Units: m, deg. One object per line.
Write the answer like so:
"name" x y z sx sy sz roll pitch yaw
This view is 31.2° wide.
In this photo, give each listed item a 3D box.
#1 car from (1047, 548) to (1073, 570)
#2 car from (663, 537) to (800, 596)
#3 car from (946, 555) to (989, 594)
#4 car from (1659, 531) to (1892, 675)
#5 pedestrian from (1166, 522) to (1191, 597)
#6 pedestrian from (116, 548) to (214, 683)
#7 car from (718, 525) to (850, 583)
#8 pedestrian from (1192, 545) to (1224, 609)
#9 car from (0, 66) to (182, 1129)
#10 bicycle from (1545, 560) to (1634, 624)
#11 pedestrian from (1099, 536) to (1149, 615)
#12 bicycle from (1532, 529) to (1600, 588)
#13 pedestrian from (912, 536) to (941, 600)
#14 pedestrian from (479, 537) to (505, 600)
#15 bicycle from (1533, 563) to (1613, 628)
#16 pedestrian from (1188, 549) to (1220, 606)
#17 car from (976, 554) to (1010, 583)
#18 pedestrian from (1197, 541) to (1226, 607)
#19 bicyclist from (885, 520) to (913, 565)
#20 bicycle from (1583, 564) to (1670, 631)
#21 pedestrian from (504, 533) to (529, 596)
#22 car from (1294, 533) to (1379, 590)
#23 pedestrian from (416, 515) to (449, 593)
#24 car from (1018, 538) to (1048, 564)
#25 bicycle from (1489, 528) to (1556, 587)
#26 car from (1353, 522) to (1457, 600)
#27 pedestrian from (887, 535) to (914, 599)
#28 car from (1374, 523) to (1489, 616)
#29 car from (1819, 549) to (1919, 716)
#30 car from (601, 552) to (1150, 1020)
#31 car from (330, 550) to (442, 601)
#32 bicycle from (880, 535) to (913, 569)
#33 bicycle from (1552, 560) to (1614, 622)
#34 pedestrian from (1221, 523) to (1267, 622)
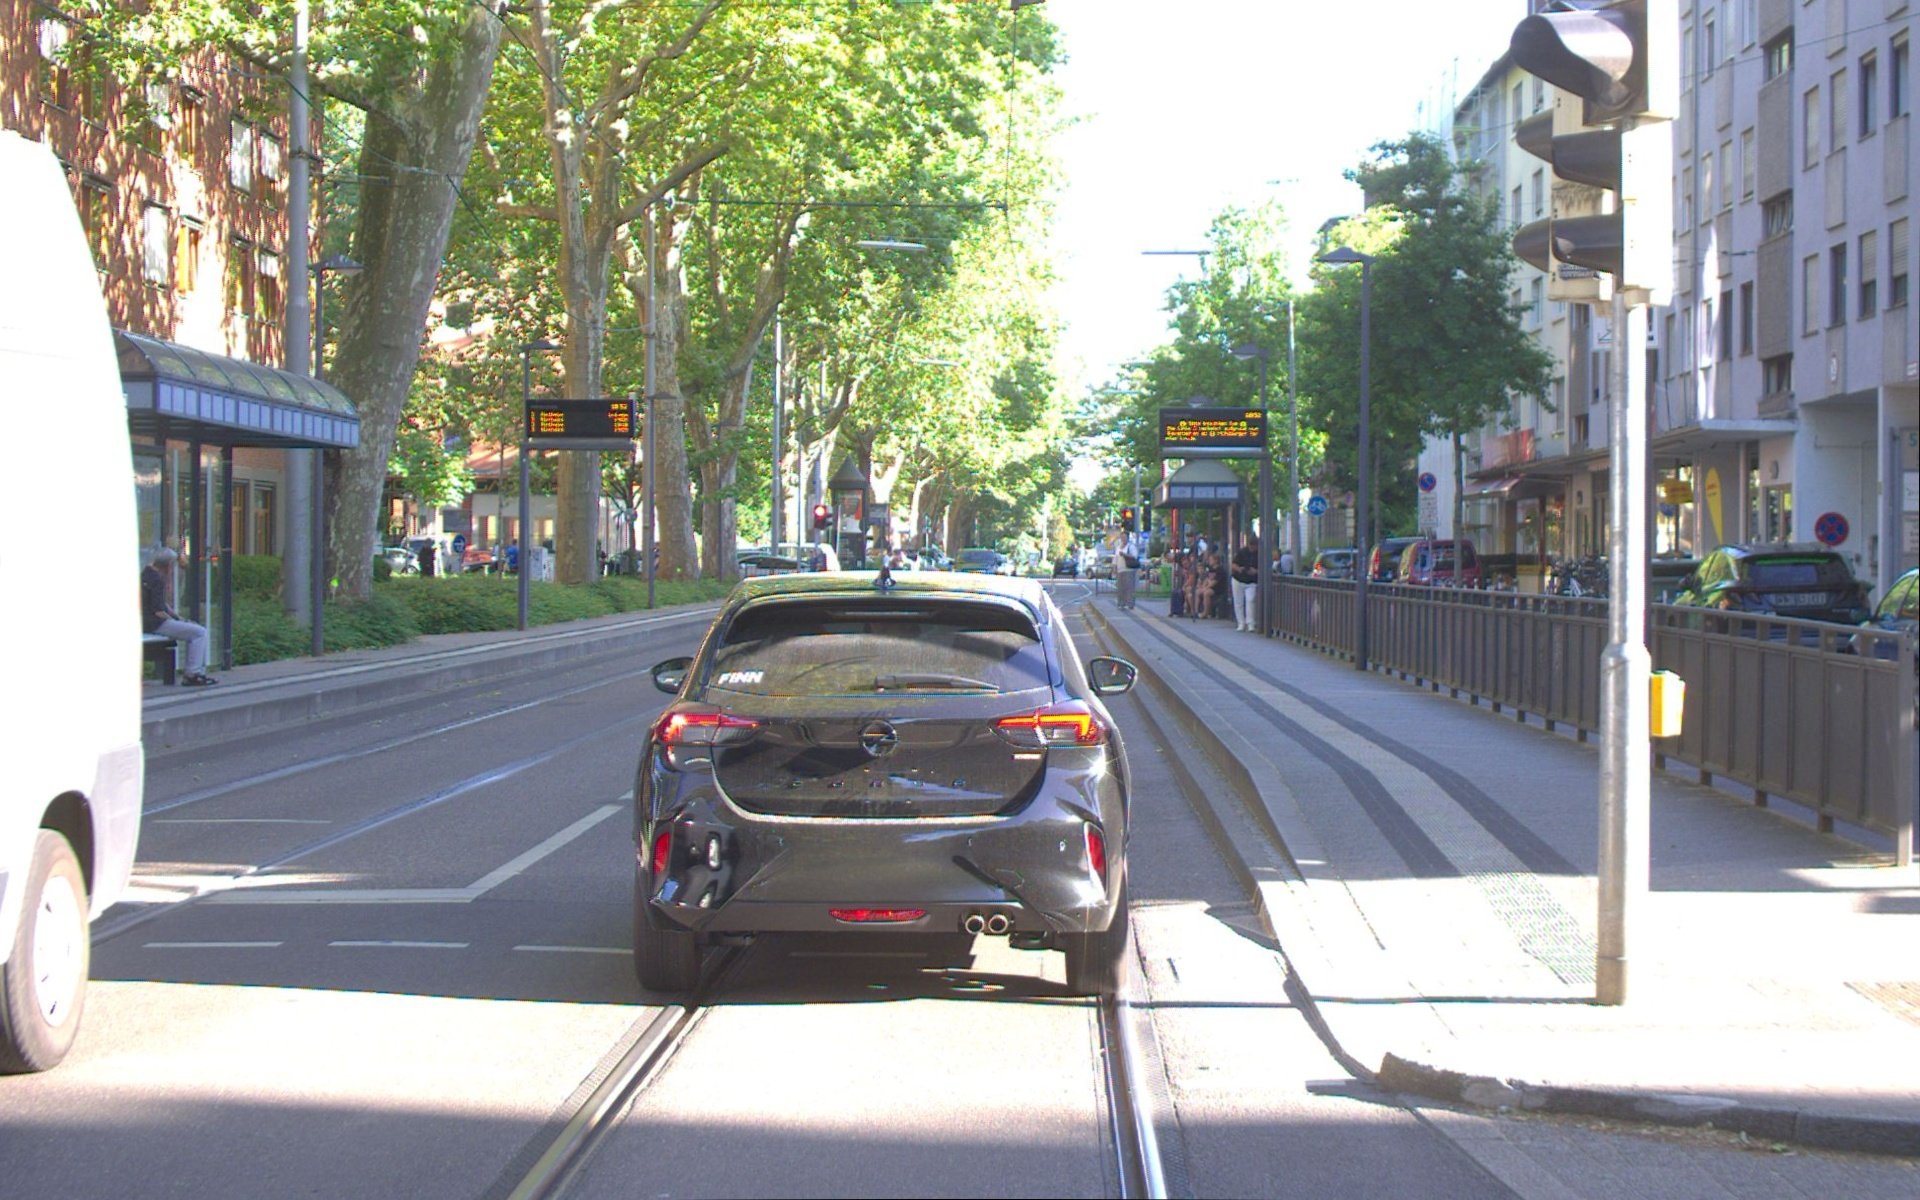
"car" 7.163 -2.946 246.641 1.745 1.539 4.000 1 0 0
"car" -7.054 -1.035 105.703 4.113 1.695 1.884 1 0 -5
"car" 0.295 -1.059 142.567 1.745 1.539 4.000 1 0 0
"car" 9.824 0.013 41.750 1.857 1.610 4.397 1 0 2
"pedestrian" 5.018 -0.932 78.922 0.531 1.703 0.752 1 0 4
"pedestrian" -6.963 0.128 30.126 0.705 1.164 0.659 -1 0 -2
"car" -6.055 -1.576 117.919 4.384 1.845 2.000 1 0 -5
"pedestrian" 4.806 -0.442 66.709 0.534 1.226 0.510 1 0 -3
"car" -3.550 0.005 7.643 2.113 2.729 6.115 0 0 1
"bicycle" 11.511 -0.165 62.951 0.611 1.132 2.922 1 0 -10
"pedestrian" 3.553 -0.528 74.682 0.751 1.703 0.762 2 0 36
"bicycle" 11.913 -0.824 67.664 0.597 1.132 2.204 1 0 -10
"pedestrian" -1.071 -1.028 109.951 0.676 2.007 0.701 3 1 13
"pedestrian" -14.764 -1.002 108.481 0.672 1.943 0.498 2 1 -2
"bicycle" 11.036 -0.094 62.000 0.602 1.132 2.435 1 0 -10
"pedestrian" 4.777 -0.439 67.384 0.534 1.096 0.551 1 0 -3
"car" 1.796 -1.714 186.957 1.745 1.539 4.000 1 0 0
"pedestrian" 4.984 -0.517 68.105 0.502 1.300 0.429 1 0 -3
"bicyclist" -2.356 -2.236 133.214 0.941 1.697 1.153 1 0 5
"bicycle" 11.524 -0.054 59.518 0.621 1.132 2.440 1 0 -10
"pedestrian" -13.889 -1.106 107.639 0.672 1.943 0.498 2 1 -2
"car" 10.386 -1.061 95.016 1.993 1.481 4.000 1 0 2
"pedestrian" -13.346 -1.157 87.025 0.672 1.943 0.498 1 0 8
"car" 4.493 -3.038 212.712 1.745 1.539 4.000 1 0 0
"bicycle" 11.229 -0.849 68.697 0.597 1.132 2.204 1 0 -10
"car" 10.674 -0.935 82.682 1.993 1.791 4.000 1 0 1
"pedestrian" -1.909 -1.054 110.141 0.675 2.007 0.701 3 1 8
"car" 10.401 -0.670 76.114 1.993 1.946 4.000 1 0 1
"car" 9.209 0.287 31.365 1.744 1.435 4.247 1 0 2
"car" -0.294 0.581 12.881 1.759 1.503 3.683 0 0 -1
"car" -23.872 -1.017 143.164 4.250 2.007 2.000 1 0 2
"bicycle" -2.436 -1.843 132.308 0.955 1.236 2.977 1 0 5
"bicycle" 11.786 -0.181 65.064 0.410 1.132 2.204 1 0 -10
"pedestrian" 4.614 -0.455 55.856 0.631 1.571 0.870 3 1 2
